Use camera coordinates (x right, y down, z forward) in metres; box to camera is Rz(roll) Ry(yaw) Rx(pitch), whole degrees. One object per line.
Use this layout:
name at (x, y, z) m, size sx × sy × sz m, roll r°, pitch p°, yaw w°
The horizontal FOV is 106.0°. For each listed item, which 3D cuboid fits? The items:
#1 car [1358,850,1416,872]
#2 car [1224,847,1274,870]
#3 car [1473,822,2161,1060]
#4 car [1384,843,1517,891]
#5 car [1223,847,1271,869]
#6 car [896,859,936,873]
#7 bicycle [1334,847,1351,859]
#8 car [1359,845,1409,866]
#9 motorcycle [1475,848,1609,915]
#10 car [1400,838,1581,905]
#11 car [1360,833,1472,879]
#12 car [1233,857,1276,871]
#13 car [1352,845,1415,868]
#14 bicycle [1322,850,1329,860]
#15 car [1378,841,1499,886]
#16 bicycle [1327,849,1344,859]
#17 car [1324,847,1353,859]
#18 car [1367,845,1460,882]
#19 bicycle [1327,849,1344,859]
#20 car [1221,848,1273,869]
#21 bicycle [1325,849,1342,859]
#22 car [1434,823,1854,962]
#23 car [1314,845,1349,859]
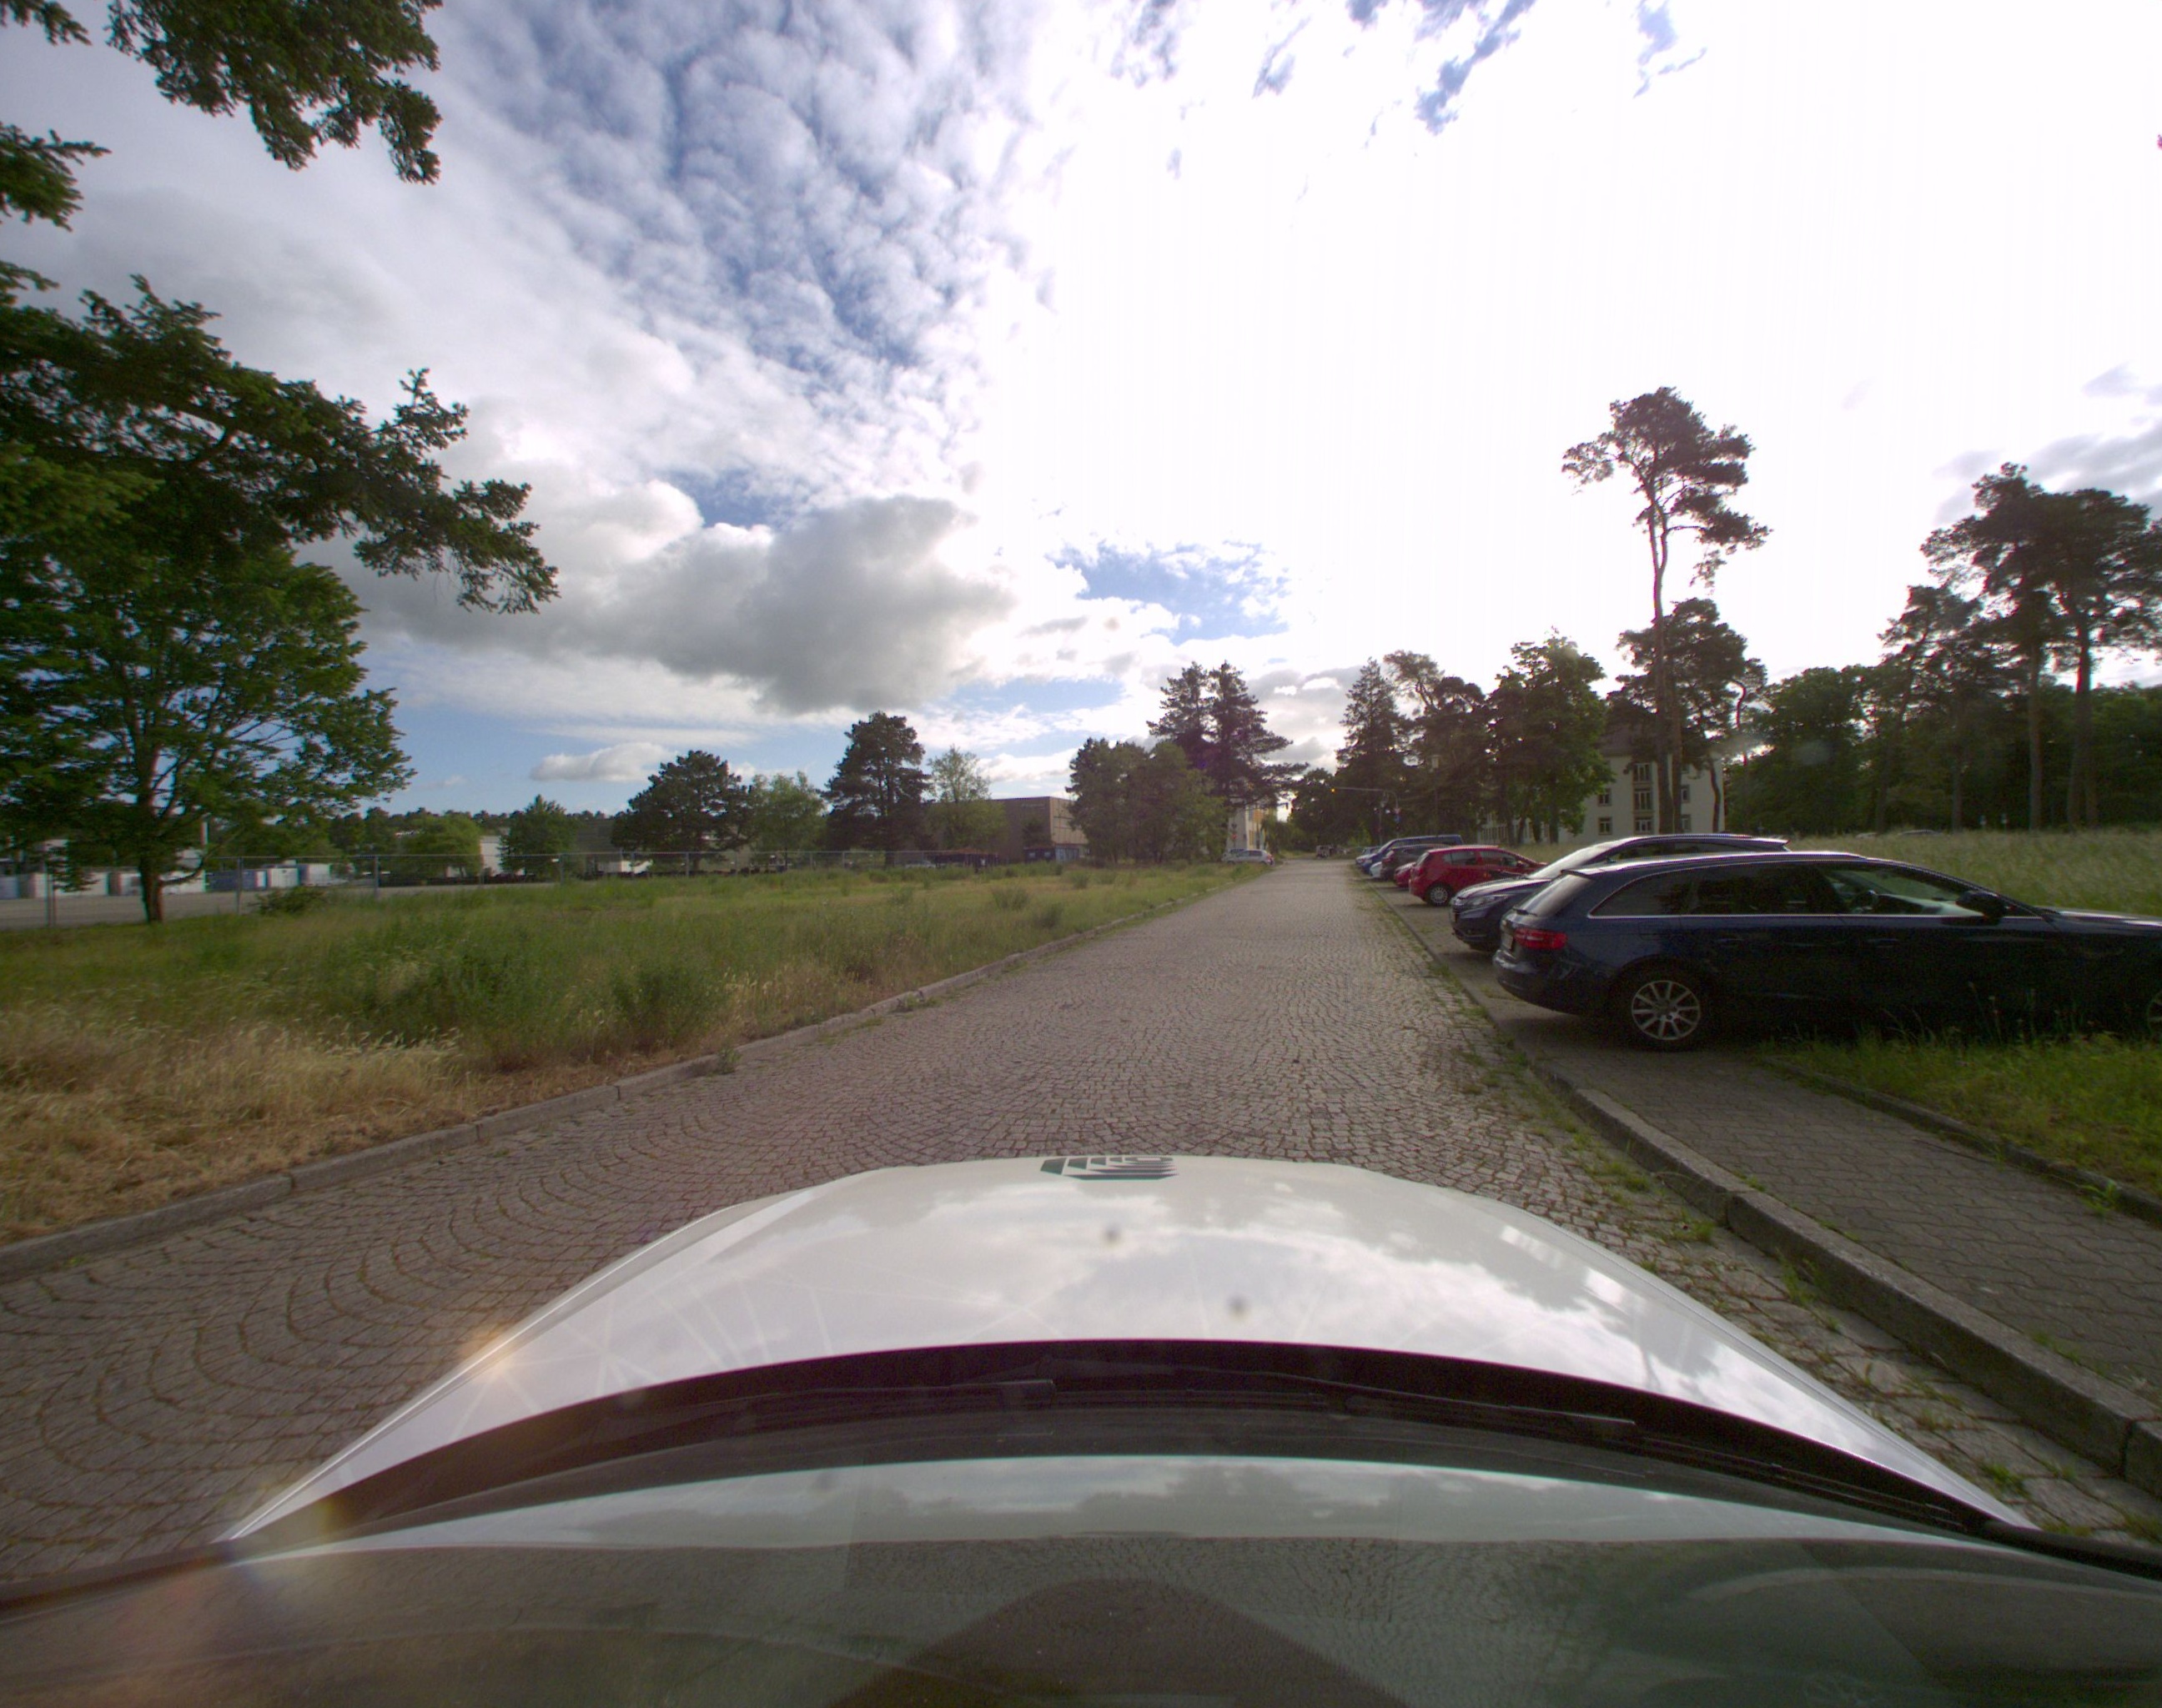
car at (19.734, 0.456, 52.704) m, size 3.271 × 1.267 × 1.669 m, roll -2°, pitch 0°, yaw 11°
car at (13.736, 0.354, 66.697) m, size 3.961 × 1.706 × 2.006 m, roll -2°, pitch 0°, yaw 11°
car at (5.716, 0.616, 6.471) m, size 4.467 × 1.464 × 1.905 m, roll -3°, pitch 0°, yaw 20°
car at (12.635, 0.430, 28.122) m, size 3.956 × 1.518 × 1.746 m, roll -2°, pitch 0°, yaw 17°
car at (14.159, 0.346, 69.706) m, size 3.962 × 1.750 × 1.932 m, roll -1°, pitch 0°, yaw 10°
car at (-18.619, 1.354, 92.074) m, size 3.956 × 1.553 × 1.816 m, roll -2°, pitch 0°, yaw 16°
bicycle at (35.664, -0.142, 110.998) m, size 2.147 × 1.616 × 0.815 m, roll -1°, pitch 0°, yaw 10°
car at (23.064, 0.113, 62.050) m, size 3.367 × 1.543 × 1.395 m, roll -2°, pitch 0°, yaw 11°
motorcycle at (9.317, 0.564, 16.536) m, size 2.249 × 1.275 × 0.608 m, roll -2°, pitch -1°, yaw 12°
car at (10.323, 0.437, 20.822) m, size 3.810 × 1.505 × 1.745 m, roll -3°, pitch 0°, yaw 16°
car at (16.039, 0.117, 39.261) m, size 4.747 × 2.040 × 1.745 m, roll -2°, pitch 0°, yaw 15°
car at (15.244, 0.905, 71.728) m, size 3.647 × 1.094 × 1.651 m, roll -2°, pitch 0°, yaw 11°
car at (22.087, 0.163, 59.648) m, size 4.096 × 1.543 × 1.669 m, roll -2°, pitch 0°, yaw 11°
bicycle at (32.098, 0.117, 106.768) m, size 0.803 × 1.268 × 1.982 m, roll -1°, pitch 0°, yaw 18°
car at (13.335, 0.347, 30.579) m, size 3.920 × 1.580 × 1.769 m, roll -1°, pitch 0°, yaw 15°
bicycle at (34.572, 0.034, 110.582) m, size 2.147 × 1.268 × 0.815 m, roll -1°, pitch 0°, yaw 10°
car at (39.082, -0.155, 123.868) m, size 3.961 × 1.644 × 2.006 m, roll -1°, pitch 0°, yaw 11°
car at (14.992, 0.423, 36.895) m, size 3.695 × 1.424 × 1.661 m, roll -3°, pitch -1°, yaw 14°
bicycle at (34.402, 0.031, 110.017) m, size 2.147 × 1.268 × 0.815 m, roll -1°, pitch 0°, yaw 10°
car at (13.069, 0.360, 64.214) m, size 3.961 × 1.552 × 2.006 m, roll -2°, pitch 0°, yaw 11°
bicycle at (34.707, 0.043, 111.815) m, size 2.147 × 1.268 × 0.815 m, roll -1°, pitch 0°, yaw 10°
car at (7.209, 0.517, 10.989) m, size 4.230 × 1.573 × 1.904 m, roll -3°, pitch 0°, yaw 16°
car at (39.133, -0.263, 127.291) m, size 5.024 × 2.013 × 2.004 m, roll -1°, pitch 0°, yaw 6°
